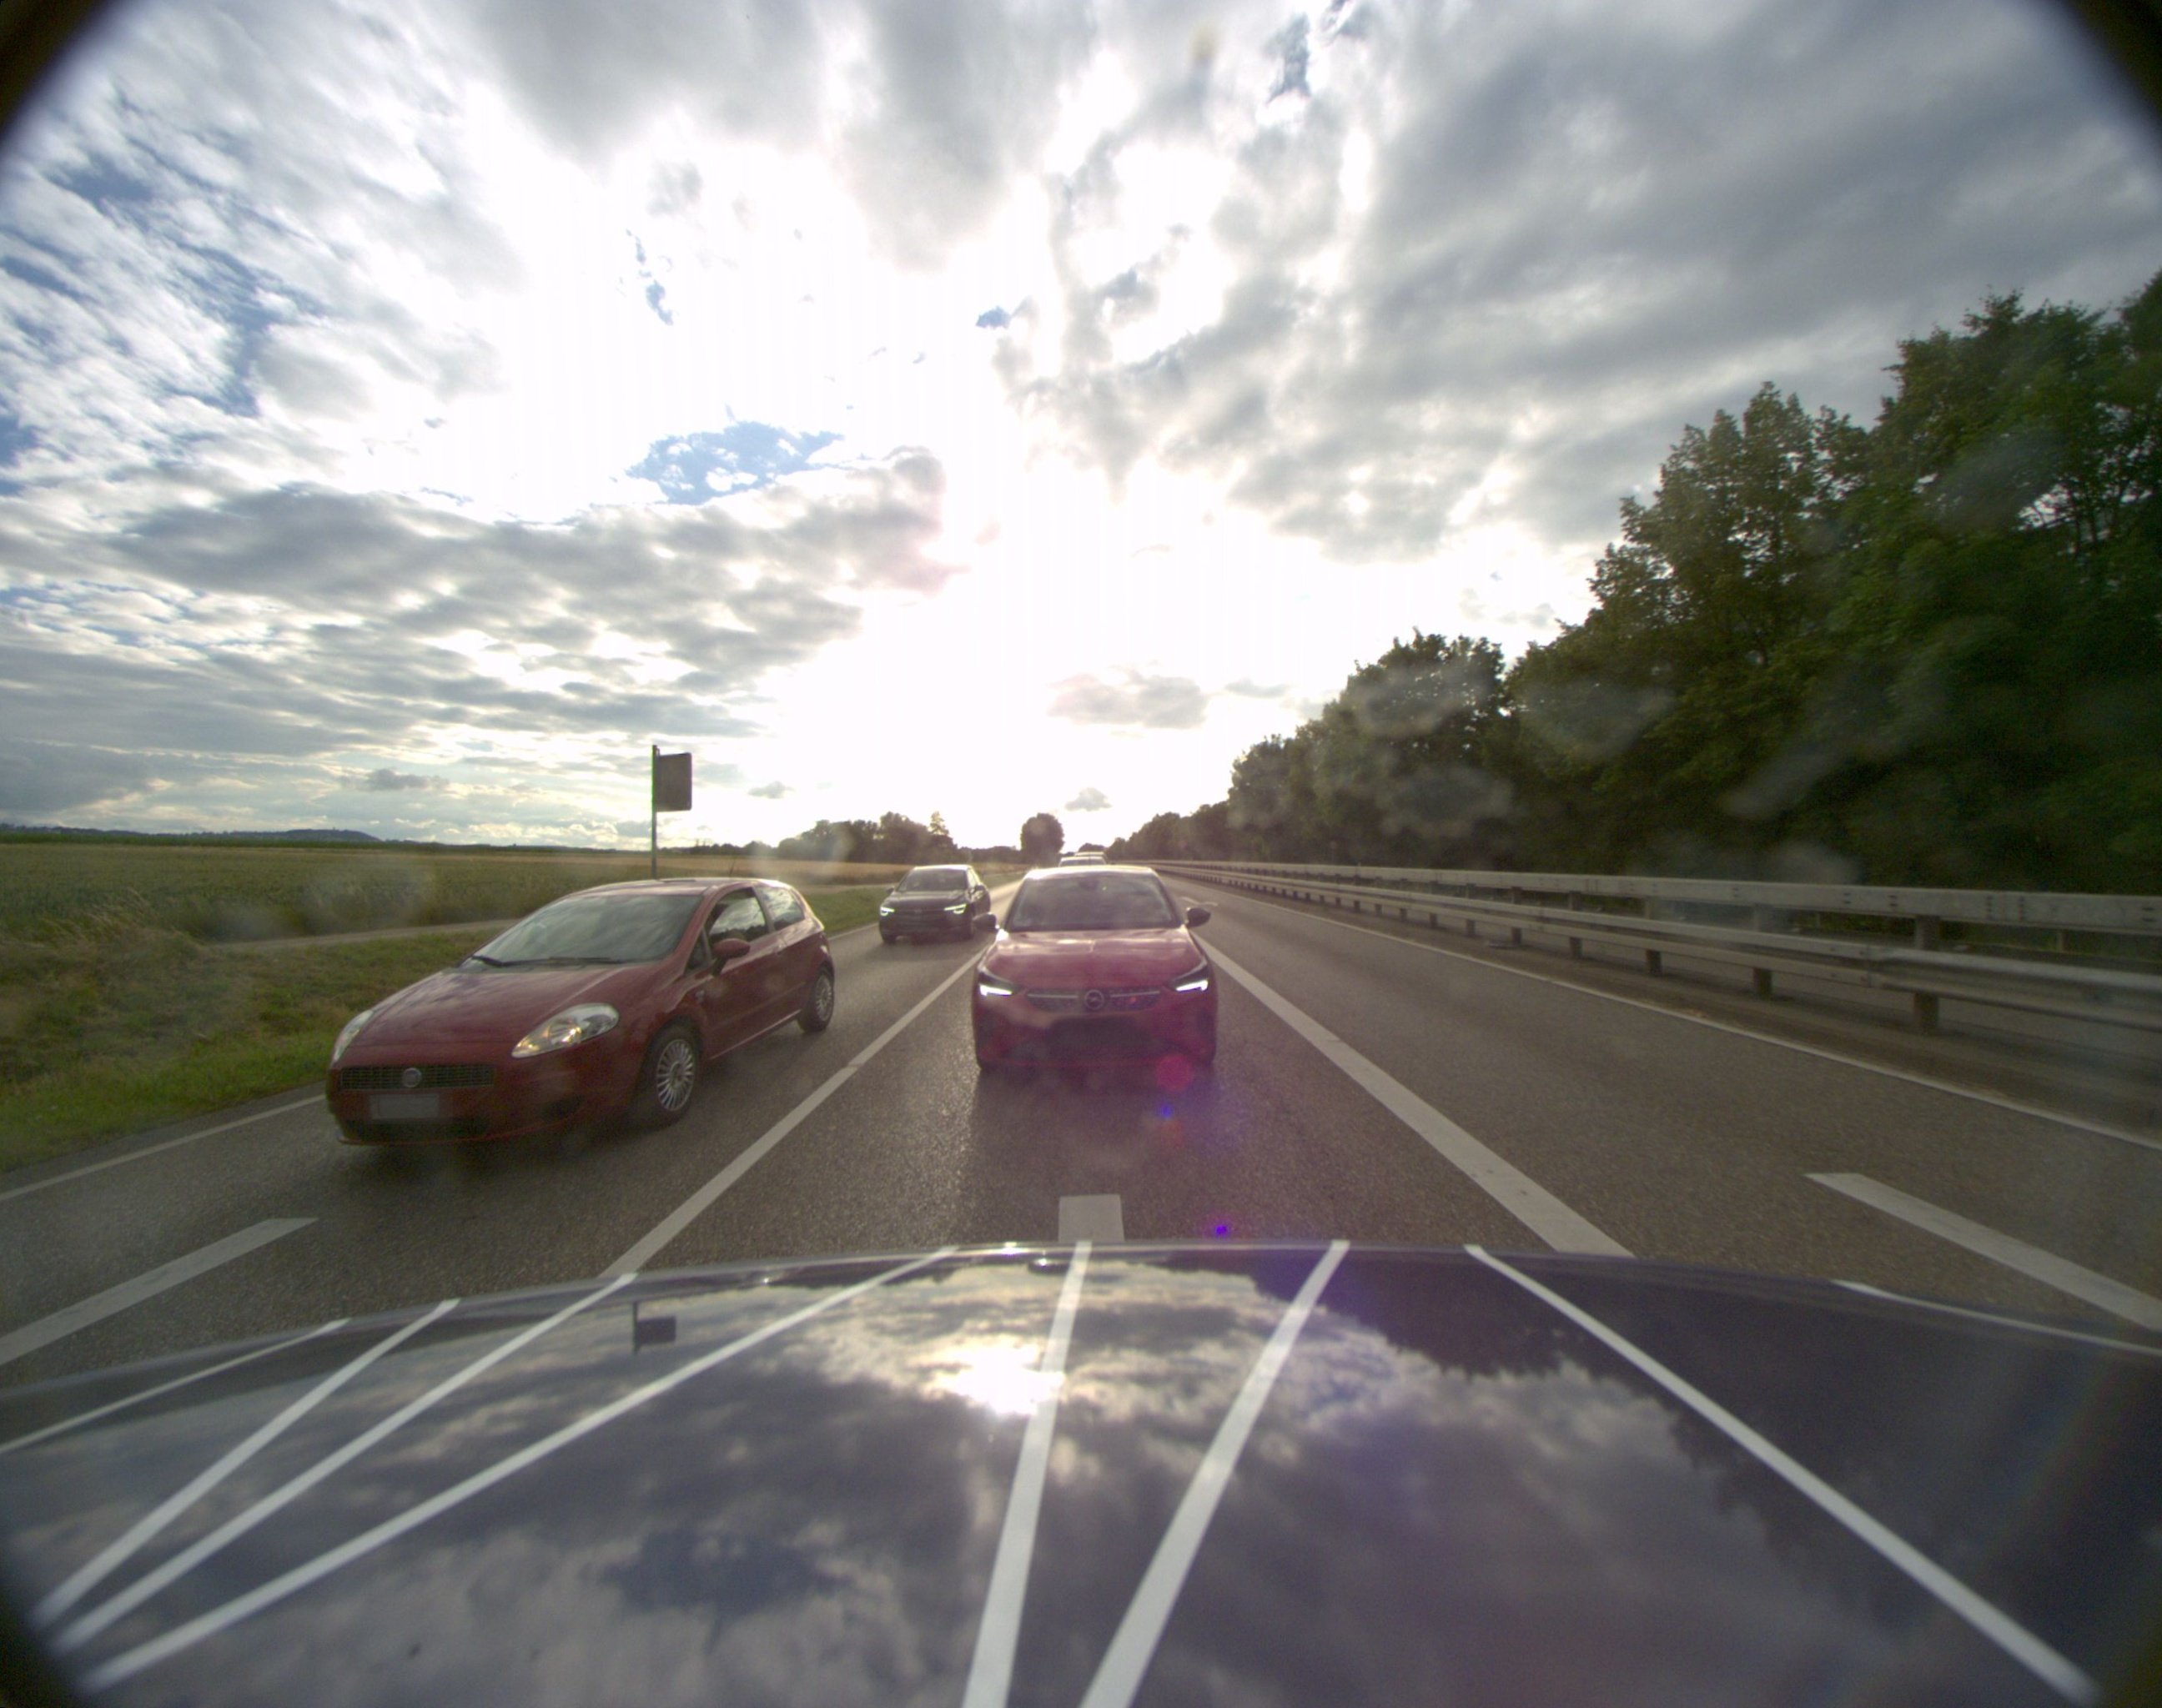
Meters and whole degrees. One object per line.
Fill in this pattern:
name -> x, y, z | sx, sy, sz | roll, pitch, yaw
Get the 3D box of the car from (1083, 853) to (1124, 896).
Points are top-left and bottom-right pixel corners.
car -> 0.969, 0.855, 34.087 | 1.671, 1.730, 4.032 | -2, 1, 1

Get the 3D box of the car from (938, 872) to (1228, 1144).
car -> 0.044, 0.992, 6.658 | 1.712, 1.448, 4.061 | -2, 1, 1

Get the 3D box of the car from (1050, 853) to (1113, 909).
car -> 0.038, 0.763, 23.322 | 1.712, 1.448, 4.061 | -2, 1, 1

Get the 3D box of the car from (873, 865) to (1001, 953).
car -> -2.852, 1.032, 15.948 | 1.799, 1.448, 4.032 | -2, 1, 1

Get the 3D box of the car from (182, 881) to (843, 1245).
car -> -3.246, 1.044, 5.477 | 1.712, 1.448, 3.908 | -2, 1, 1
